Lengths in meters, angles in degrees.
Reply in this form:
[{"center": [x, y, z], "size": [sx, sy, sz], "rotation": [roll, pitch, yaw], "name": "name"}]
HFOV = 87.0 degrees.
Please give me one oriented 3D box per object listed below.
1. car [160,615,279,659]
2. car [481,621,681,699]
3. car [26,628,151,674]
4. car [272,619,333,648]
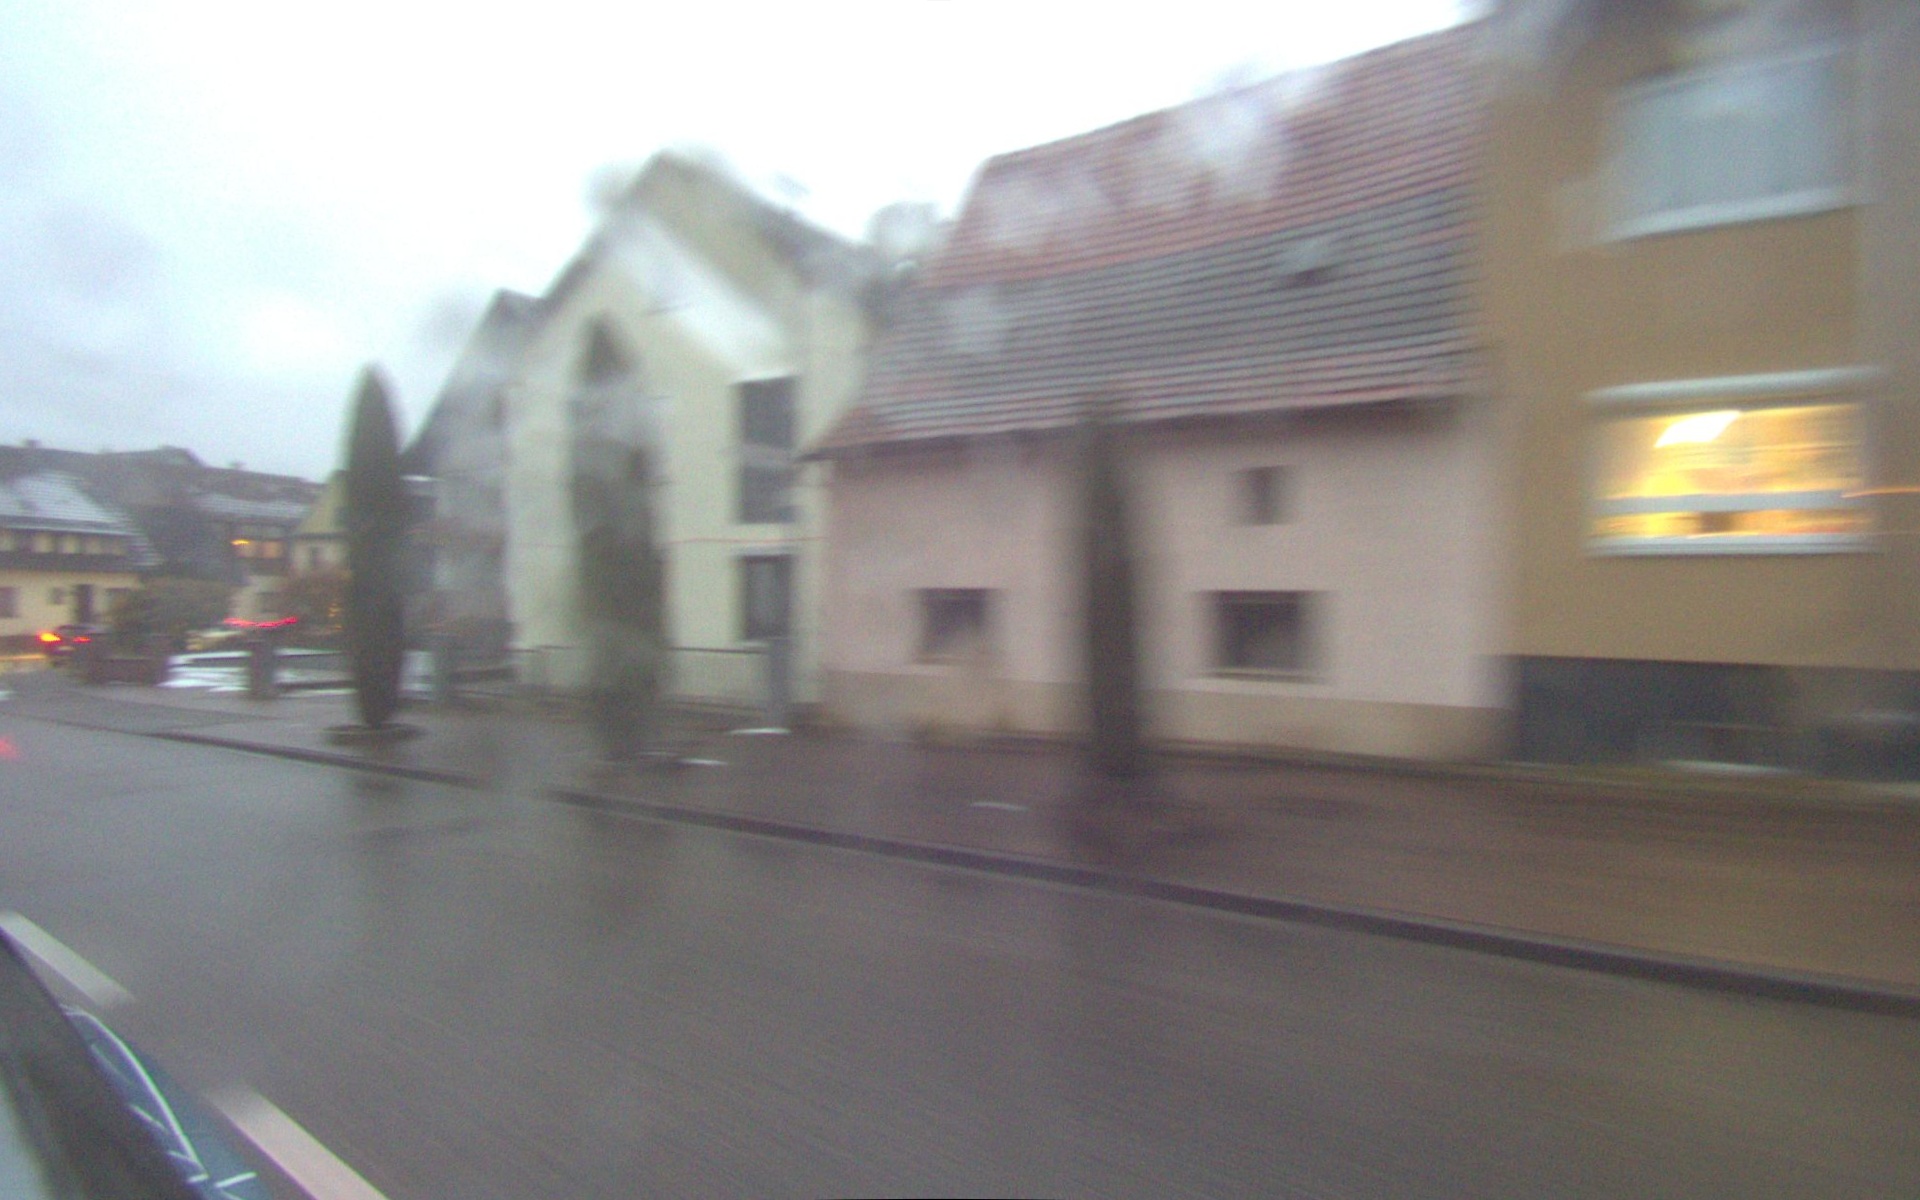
[{"center": [-37.030, 1.859, 50.813], "size": [2.038, 2.073, 4.788], "rotation": [0, -2, 8], "name": "car"}, {"center": [-8.155, 1.230, 22.145], "size": [1.811, 1.473, 3.964], "rotation": [-1, -1, 26], "name": "car"}, {"center": [-33.497, 1.916, 39.070], "size": [1.851, 1.625, 4.615], "rotation": [1, -2, -16], "name": "car"}, {"center": [-41.153, 2.081, 63.343], "size": [3.475, 1.517, 1.634], "rotation": [3, 0, 28], "name": "car"}]
